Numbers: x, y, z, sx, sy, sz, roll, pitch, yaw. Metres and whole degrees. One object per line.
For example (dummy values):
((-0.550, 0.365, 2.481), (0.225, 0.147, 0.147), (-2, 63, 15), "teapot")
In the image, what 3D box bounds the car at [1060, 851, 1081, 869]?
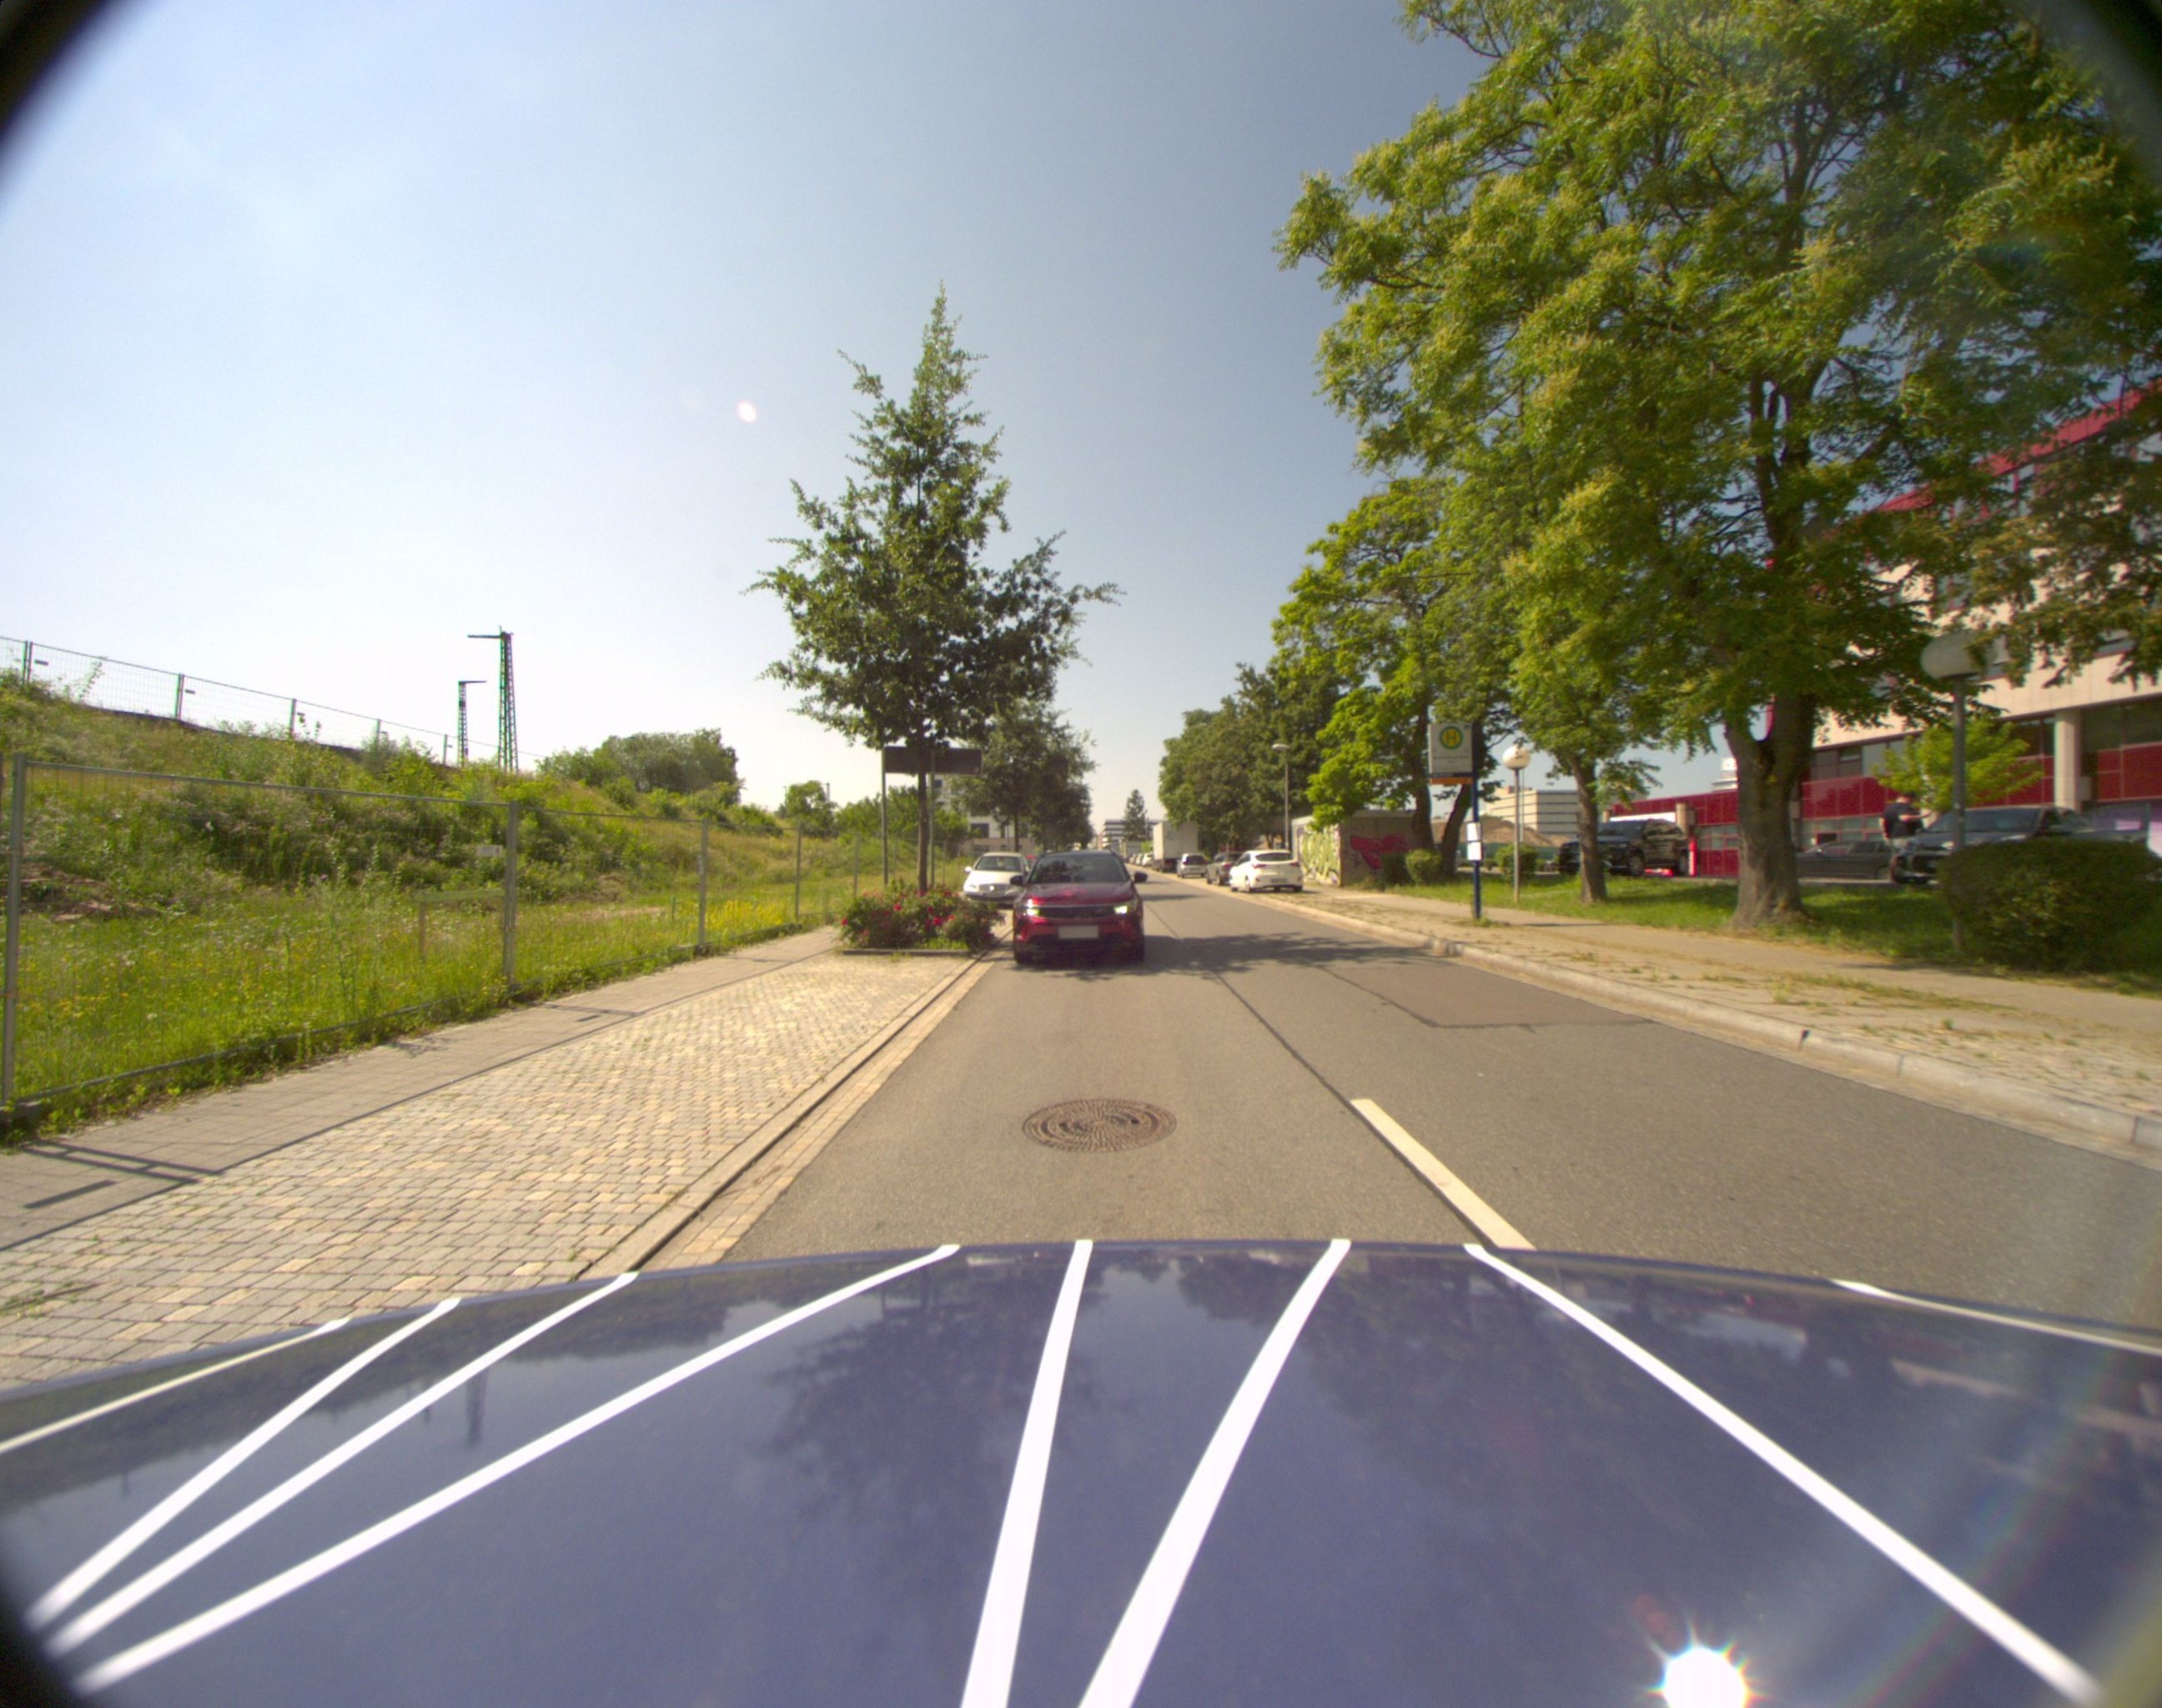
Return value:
((-0.926, 0.570, 71.707), (1.847, 1.606, 4.000), (1, 0, 1), "car")

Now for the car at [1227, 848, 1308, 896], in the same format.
((6.343, 0.568, 26.309), (1.765, 1.484, 3.999), (-2, 0, 0), "car")

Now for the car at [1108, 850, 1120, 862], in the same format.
((5.381, 0.301, 124.670), (1.790, 1.783, 4.000), (-1, 0, 2), "car")

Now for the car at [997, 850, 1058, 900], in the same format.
((-1.859, 0.711, 27.462), (1.847, 1.606, 4.000), (1, 0, 1), "car")

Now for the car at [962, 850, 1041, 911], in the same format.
((-2.314, 0.741, 23.113), (1.847, 1.606, 4.370), (2, 0, 1), "car")

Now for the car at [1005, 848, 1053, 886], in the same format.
((-2.323, 0.585, 34.944), (1.847, 1.606, 4.000), (1, 0, 1), "car")

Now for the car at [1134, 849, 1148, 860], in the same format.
((8.352, 0.097, 106.217), (1.814, 1.506, 4.000), (-2, 0, 2), "car")

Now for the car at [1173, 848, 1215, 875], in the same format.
((6.701, 0.425, 45.400), (1.815, 1.506, 4.000), (-2, 0, 0), "car")

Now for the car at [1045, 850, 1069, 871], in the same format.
((-1.954, 0.537, 62.767), (1.847, 1.606, 4.000), (1, 0, 1), "car")

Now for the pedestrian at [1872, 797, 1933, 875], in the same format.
((16.639, -0.352, 15.401), (0.563, 1.518, 0.758), (-1, 1, 22), "pedestrian")

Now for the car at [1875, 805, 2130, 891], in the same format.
((16.676, -0.131, 13.758), (3.993, 1.330, 1.715), (-2, 1, -20), "car")

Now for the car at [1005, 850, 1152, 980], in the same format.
((-0.050, 0.791, 11.884), (1.821, 1.594, 4.307), (-2, 0, 0), "car")

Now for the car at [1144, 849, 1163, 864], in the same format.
((7.853, 0.233, 82.781), (1.814, 1.506, 4.000), (-2, 0, 2), "car")

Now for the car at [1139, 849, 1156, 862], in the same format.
((8.162, 0.166, 93.829), (1.814, 1.506, 4.000), (-2, 0, 2), "car")

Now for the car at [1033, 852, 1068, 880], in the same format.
((-1.743, 0.676, 44.865), (1.869, 1.533, 4.000), (-1, 0, 0), "car")

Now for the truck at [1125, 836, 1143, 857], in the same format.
((8.485, -1.172, 121.982), (2.701, 3.300, 7.344), (-1, 0, 4), "truck")

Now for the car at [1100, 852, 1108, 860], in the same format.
((5.317, 0.539, 173.943), (1.764, 1.783, 4.001), (-1, 0, 3), "car")

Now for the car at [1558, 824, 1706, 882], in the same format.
((16.273, -0.070, 22.368), (4.824, 1.484, 1.848), (-2, 1, -32), "car")

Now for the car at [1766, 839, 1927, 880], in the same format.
((29.024, 0.219, 28.995), (4.228, 1.443, 1.726), (-1, 0, 43), "car")

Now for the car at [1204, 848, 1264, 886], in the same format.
((6.702, 0.528, 33.635), (1.815, 1.506, 4.000), (-2, 0, 0), "car")

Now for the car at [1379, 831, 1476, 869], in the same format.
((17.238, -0.194, 37.765), (4.724, 1.793, 1.996), (-1, -1, -30), "car")

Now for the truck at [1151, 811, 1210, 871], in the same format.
((7.436, -0.888, 58.228), (3.353, 4.119, 9.278), (-2, 0, 1), "truck")
